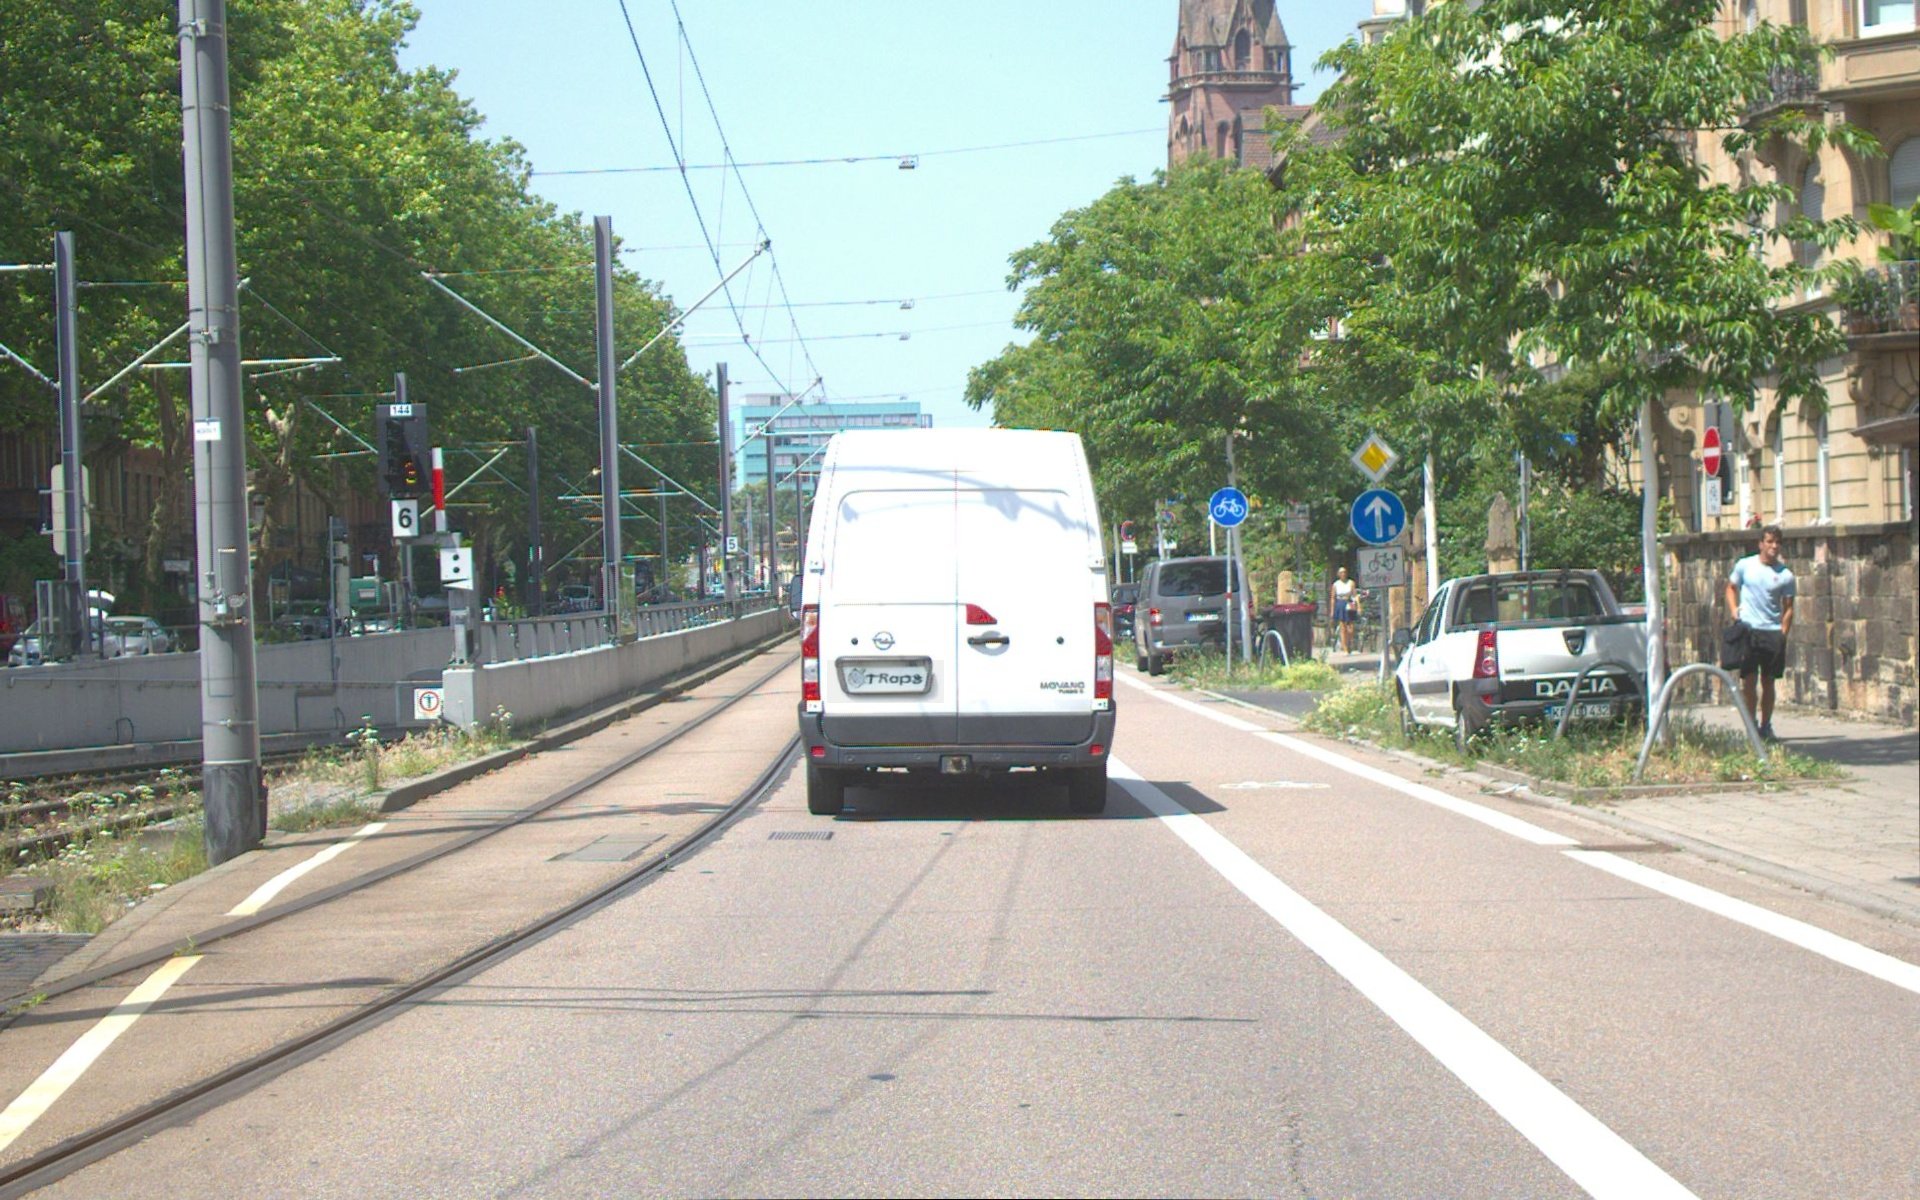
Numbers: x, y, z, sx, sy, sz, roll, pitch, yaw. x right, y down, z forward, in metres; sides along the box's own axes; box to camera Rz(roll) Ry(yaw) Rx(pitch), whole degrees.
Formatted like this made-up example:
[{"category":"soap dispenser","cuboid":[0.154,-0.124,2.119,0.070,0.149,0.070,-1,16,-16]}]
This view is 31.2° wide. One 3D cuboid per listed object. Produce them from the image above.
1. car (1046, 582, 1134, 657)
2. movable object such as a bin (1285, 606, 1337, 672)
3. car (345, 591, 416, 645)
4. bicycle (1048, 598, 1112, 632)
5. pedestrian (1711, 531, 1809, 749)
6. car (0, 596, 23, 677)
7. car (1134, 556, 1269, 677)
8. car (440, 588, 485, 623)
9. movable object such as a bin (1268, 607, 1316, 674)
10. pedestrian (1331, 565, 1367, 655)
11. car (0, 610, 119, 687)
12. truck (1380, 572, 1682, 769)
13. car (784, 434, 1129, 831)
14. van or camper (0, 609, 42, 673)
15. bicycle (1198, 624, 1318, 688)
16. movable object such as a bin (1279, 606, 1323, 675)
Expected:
[{"category":"car","cuboid":[2.812,0.399,74.972,1.667,1.525,4.013,-2,1,-1]},{"category":"movable object such as a bin","cuboid":[5.474,0.607,53.663,0.787,1.010,0.650,-1,0,6]},{"category":"car","cuboid":[-18.458,0.561,109.571,1.743,1.634,3.863,-2,0,-3]},{"category":"bicycle","cuboid":[3.494,0.437,100.075,1.842,0.950,0.503,-2,1,1]},{"category":"pedestrian","cuboid":[6.537,0.318,28.115,0.621,1.749,0.678,-1,0,1]},{"category":"car","cuboid":[-20.969,0.786,72.178,1.654,1.679,3.707,-1,1,-2]},{"category":"car","cuboid":[4.189,0.254,60.352,1.879,1.941,4.837,-3,1,-1]},{"category":"car","cuboid":[-20.744,0.220,143.452,1.373,1.419,3.088,-2,0,0]},{"category":"movable object such as a bin","cuboid":[5.313,0.648,55.008,0.746,1.058,0.496,-1,0,6]},{"category":"pedestrian","cuboid":[6.954,0.175,61.504,0.552,1.592,0.727,-1,0,1]},{"category":"car","cuboid":[-20.938,1.098,79.344,1.993,1.619,4.718,-1,1,-2]},{"category":"truck","cuboid":[4.817,0.539,29.582,1.789,1.521,4.465,-1,1,0]},{"category":"car","cuboid":[-0.105,0.175,24.123,2.117,2.450,5.055,-1,1,-2]},{"category":"van or camper","cuboid":[-29.595,1.254,101.234,4.544,1.830,1.932,-1,0,5]},{"category":"bicycle","cuboid":[4.900,0.918,56.500,1.880,0.988,0.470,-2,0,-10]},{"category":"movable object such as a bin","cuboid":[5.396,0.635,54.349,0.669,1.058,0.496,-1,0,6]}]
